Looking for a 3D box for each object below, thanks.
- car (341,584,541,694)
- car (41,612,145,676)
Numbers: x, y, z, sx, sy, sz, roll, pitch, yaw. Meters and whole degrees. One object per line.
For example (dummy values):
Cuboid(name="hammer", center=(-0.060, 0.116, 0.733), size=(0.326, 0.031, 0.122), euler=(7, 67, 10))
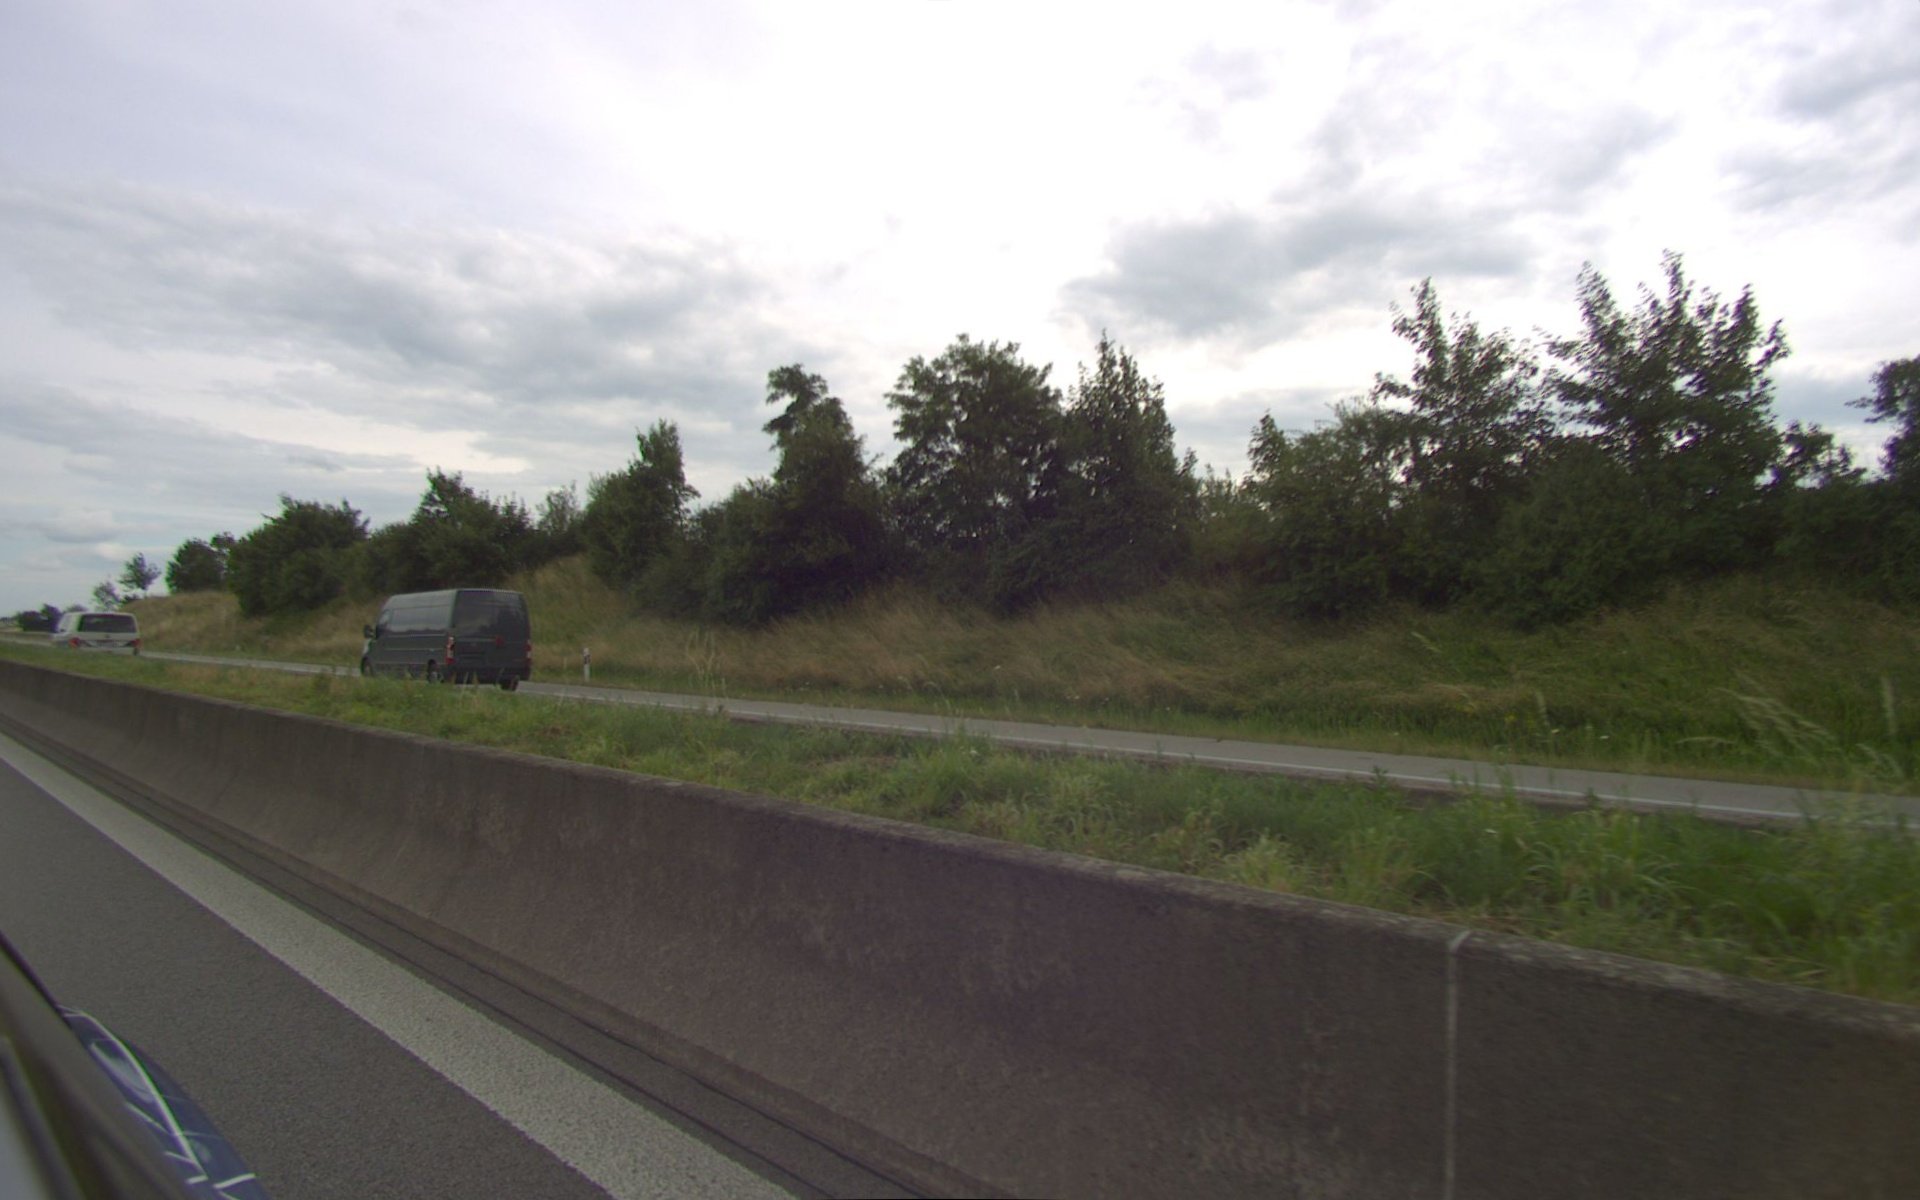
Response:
Cuboid(name="car", center=(-13.379, 0.968, 25.846), size=(6.719, 2.484, 2.147), euler=(-1, -3, 41))
Cuboid(name="car", center=(-29.790, 1.466, 34.720), size=(5.127, 2.029, 1.959), euler=(-2, -1, 41))
